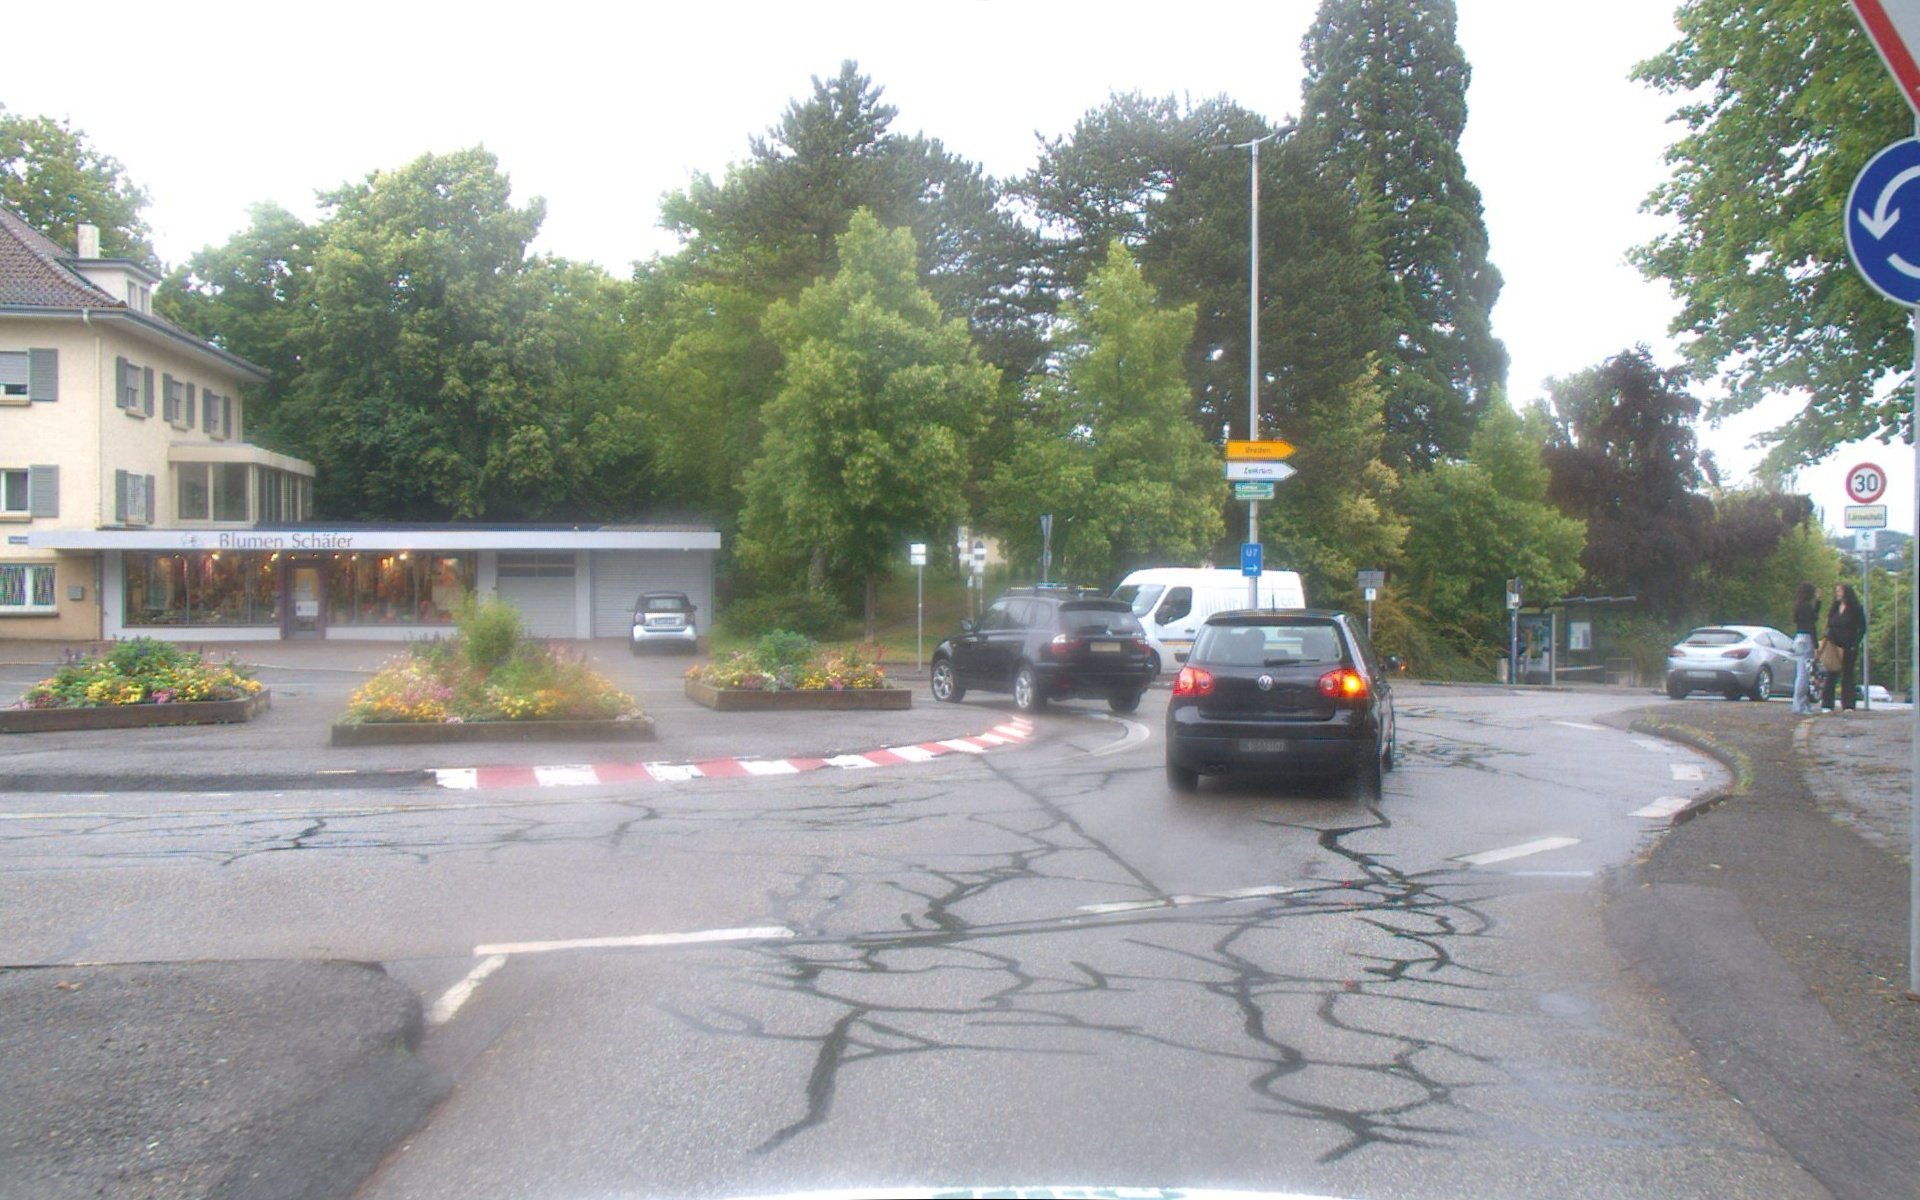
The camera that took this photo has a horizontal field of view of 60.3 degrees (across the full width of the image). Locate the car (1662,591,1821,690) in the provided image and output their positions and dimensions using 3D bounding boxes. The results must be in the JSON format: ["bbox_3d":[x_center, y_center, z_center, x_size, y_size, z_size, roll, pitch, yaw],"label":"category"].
[{"bbox_3d":[15.617,0.764,32.944,1.738,1.833,4.221,-2,-1,41],"label":"car"}]

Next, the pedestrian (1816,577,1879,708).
[{"bbox_3d":[12.108,0.573,22.582,0.620,1.743,0.530,1,-1,13],"label":"pedestrian"}]

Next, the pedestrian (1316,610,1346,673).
[{"bbox_3d":[10.456,1.159,46.632,0.722,1.756,0.817,1,-1,18],"label":"pedestrian"}]

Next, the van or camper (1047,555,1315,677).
[{"bbox_3d":[4.771,0.389,35.413,5.595,2.420,2.177,2,-1,-32],"label":"van or camper"}]

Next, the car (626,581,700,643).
[{"bbox_3d":[-7.756,0.287,43.281,1.779,1.512,3.822,-1,0,-10],"label":"car"}]

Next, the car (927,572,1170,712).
[{"bbox_3d":[1.179,0.584,24.168,1.743,1.833,4.211,-1,-1,-26],"label":"car"}]

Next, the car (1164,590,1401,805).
[{"bbox_3d":[2.937,0.718,14.438,1.727,1.565,4.003,1,0,15],"label":"car"}]

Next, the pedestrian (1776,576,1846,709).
[{"bbox_3d":[11.339,0.566,22.047,0.520,1.743,0.633,1,-1,-18],"label":"pedestrian"}]
